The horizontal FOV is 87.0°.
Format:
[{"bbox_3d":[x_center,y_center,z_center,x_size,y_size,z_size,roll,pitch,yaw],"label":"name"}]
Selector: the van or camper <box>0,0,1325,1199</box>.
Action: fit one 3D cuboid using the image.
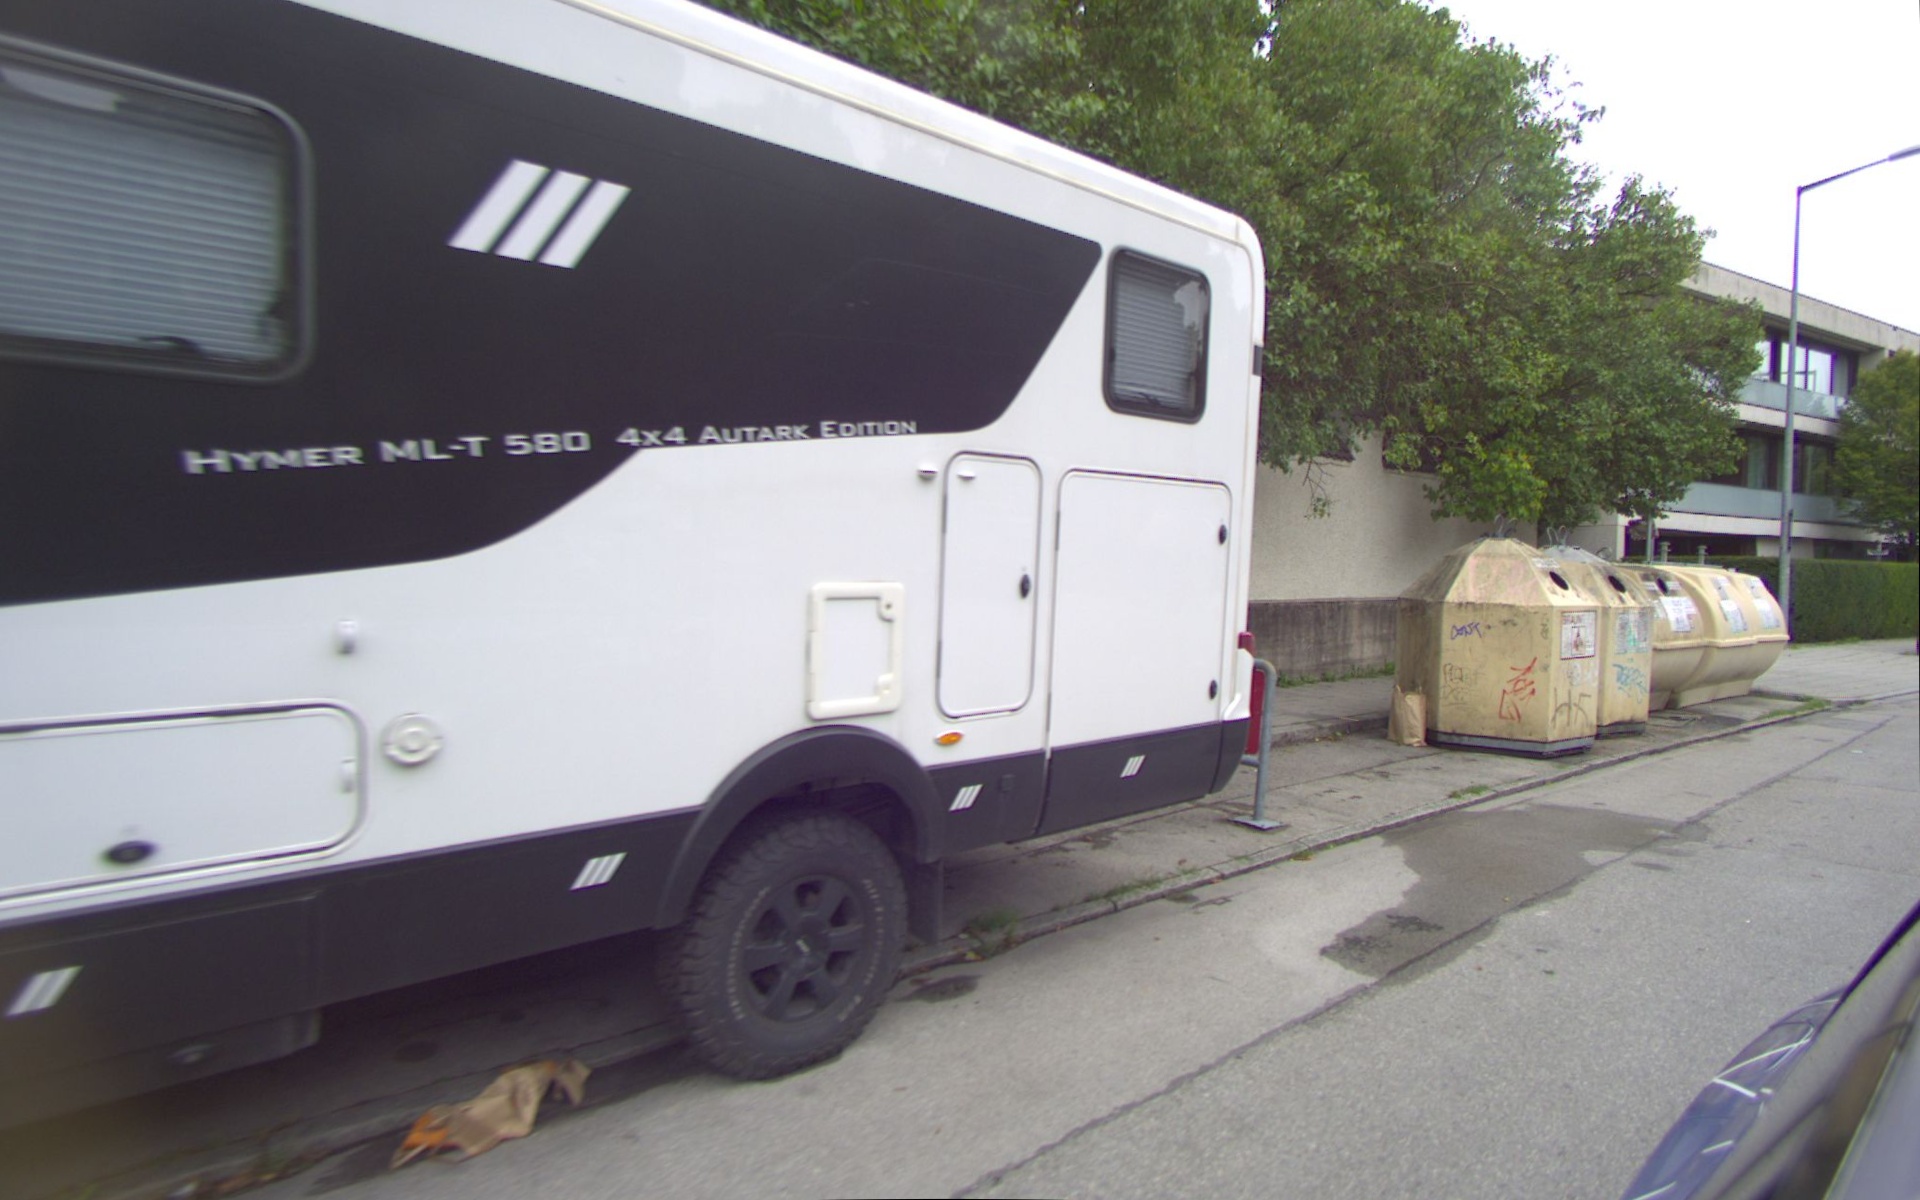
[{"bbox_3d":[-1.911,-0.279,2.868,7.149,2.942,2.277,-1,2,-41],"label":"van or camper"}]
